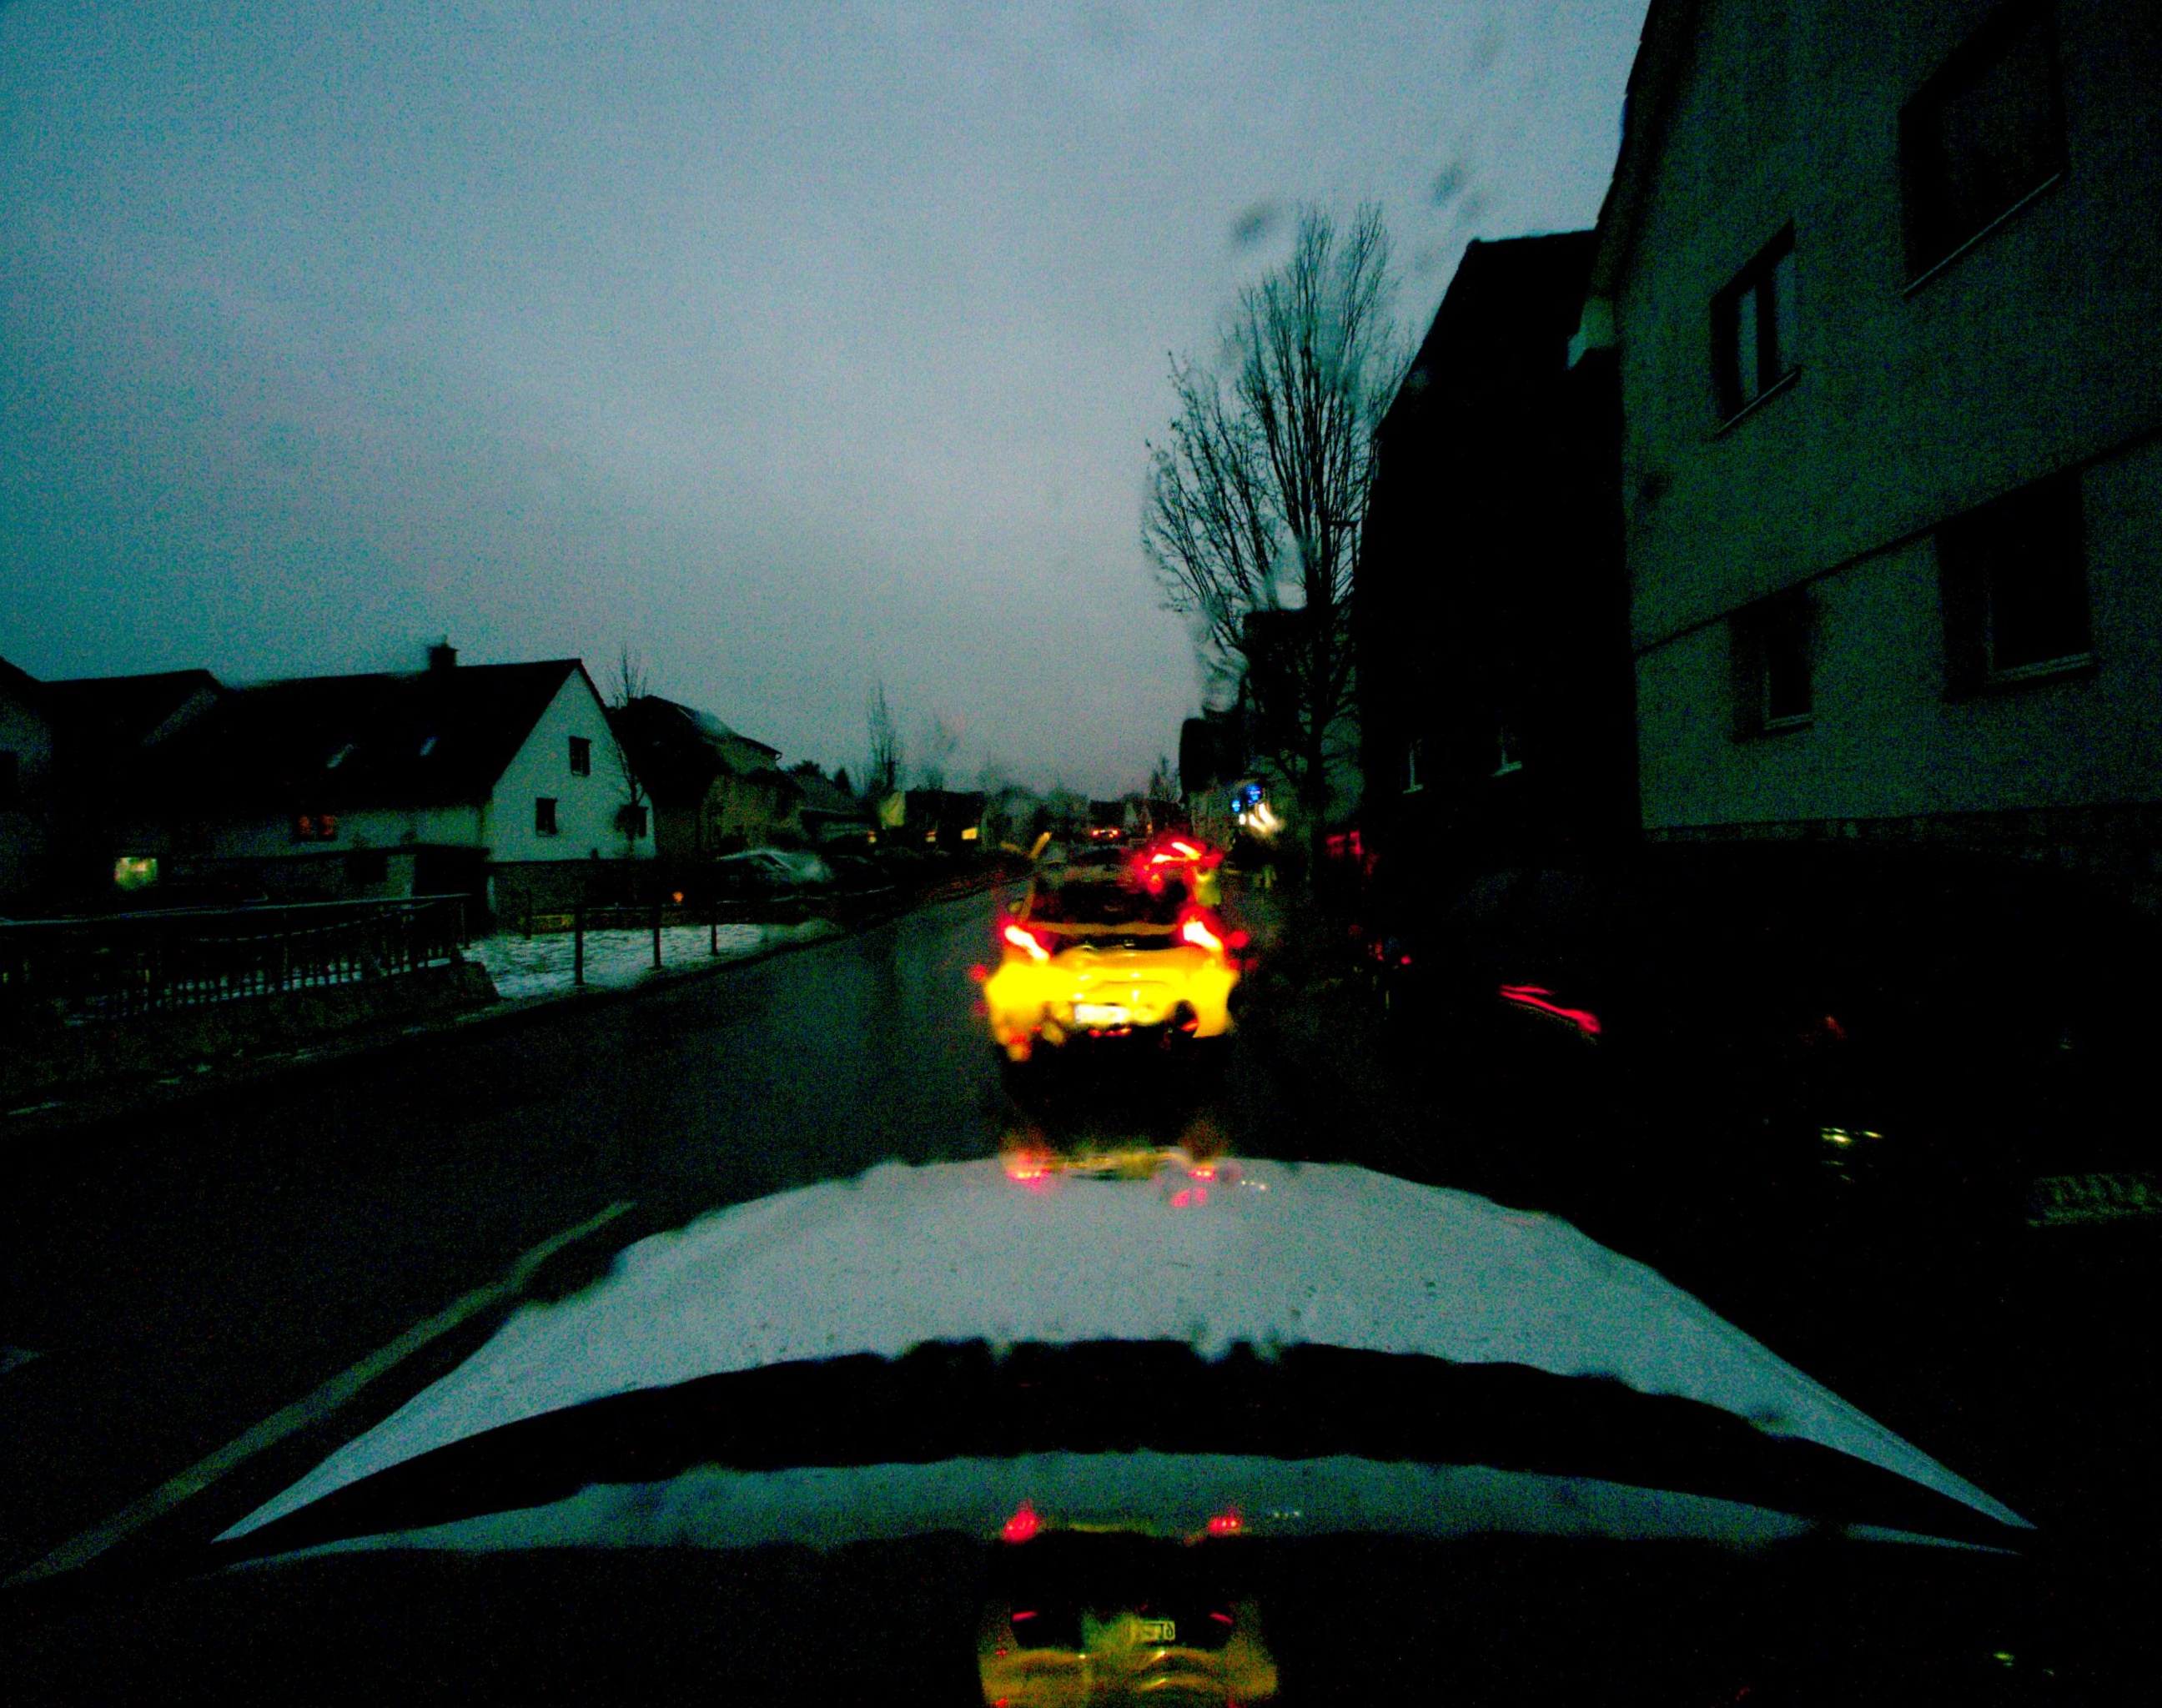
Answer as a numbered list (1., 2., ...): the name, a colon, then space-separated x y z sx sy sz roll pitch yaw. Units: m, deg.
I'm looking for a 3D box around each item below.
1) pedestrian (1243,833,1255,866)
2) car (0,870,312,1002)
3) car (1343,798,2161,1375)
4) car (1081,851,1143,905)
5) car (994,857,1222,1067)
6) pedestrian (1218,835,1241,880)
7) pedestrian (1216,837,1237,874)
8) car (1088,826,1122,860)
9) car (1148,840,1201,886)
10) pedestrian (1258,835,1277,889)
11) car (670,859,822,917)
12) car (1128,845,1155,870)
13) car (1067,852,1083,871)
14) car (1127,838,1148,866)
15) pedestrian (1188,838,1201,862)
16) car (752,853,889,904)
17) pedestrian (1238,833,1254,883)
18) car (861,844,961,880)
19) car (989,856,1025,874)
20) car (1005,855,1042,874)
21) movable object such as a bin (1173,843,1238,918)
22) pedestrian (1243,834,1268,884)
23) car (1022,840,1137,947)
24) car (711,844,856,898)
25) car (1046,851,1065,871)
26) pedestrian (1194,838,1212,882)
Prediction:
1. pedestrian: 9.007 -0.223 43.637 0.614 1.727 0.503 -1 -2 13
2. car: -14.186 1.114 11.605 1.794 1.482 4.577 -3 1 4
3. car: 2.826 0.598 4.275 1.720 1.464 4.203 -5 0 4
4. car: 0.821 0.585 21.876 1.535 1.331 3.313 -1 0 2
5. car: 0.238 0.750 7.116 1.557 1.412 3.019 -1 0 2
6. pedestrian: 5.823 0.125 31.963 0.707 1.715 1.039 -3 1 15
7. pedestrian: 6.503 0.070 36.472 0.618 1.626 0.903 -2 1 -11
8. car: 2.427 -0.993 79.534 3.177 3.032 6.309 -1 -2 3
9. car: 3.791 0.348 33.558 1.729 1.692 4.387 -2 0 1
10. pedestrian: 5.739 0.257 25.135 0.525 1.653 0.957 -1 -2 12
11. car: -9.085 0.907 22.281 3.432 1.372 1.601 -2 0 1
12. car: 4.847 0.280 65.401 1.990 1.865 4.085 -1 0 2
13. car: -0.709 0.926 96.352 1.913 2.216 3.974 0 -2 0
14. car: 5.378 -0.173 77.847 1.862 2.469 4.447 -1 -2 3
15. pedestrian: 7.422 -0.277 53.453 0.618 1.515 0.731 -2 1 -12
16. car: -8.808 0.826 27.698 4.074 1.608 1.589 -1 -1 5
17. pedestrian: 6.064 0.149 29.927 0.525 1.800 0.867 -1 0 12
18. car: -8.559 0.411 41.356 4.611 1.667 1.999 -1 -1 -1
19. car: -8.369 1.253 91.882 1.833 1.976 4.117 2 -3 -44
20. car: -6.785 1.243 95.345 2.011 2.167 4.332 2 -3 -44
21. movable object such as a bin: 2.602 0.522 17.200 1.124 1.420 1.419 -5 1 4
22. pedestrian: 5.978 0.191 27.862 0.743 1.679 1.054 -1 -2 8
23. car: 0.035 0.597 14.280 1.760 1.628 3.587 -1 0 2
24. car: -9.099 0.516 25.029 3.772 1.523 1.719 -1 -1 8
25. car: -2.737 0.810 88.599 1.913 2.028 3.974 0 -2 0
26. pedestrian: 4.901 0.244 32.674 0.571 1.699 0.653 -4 -1 3
